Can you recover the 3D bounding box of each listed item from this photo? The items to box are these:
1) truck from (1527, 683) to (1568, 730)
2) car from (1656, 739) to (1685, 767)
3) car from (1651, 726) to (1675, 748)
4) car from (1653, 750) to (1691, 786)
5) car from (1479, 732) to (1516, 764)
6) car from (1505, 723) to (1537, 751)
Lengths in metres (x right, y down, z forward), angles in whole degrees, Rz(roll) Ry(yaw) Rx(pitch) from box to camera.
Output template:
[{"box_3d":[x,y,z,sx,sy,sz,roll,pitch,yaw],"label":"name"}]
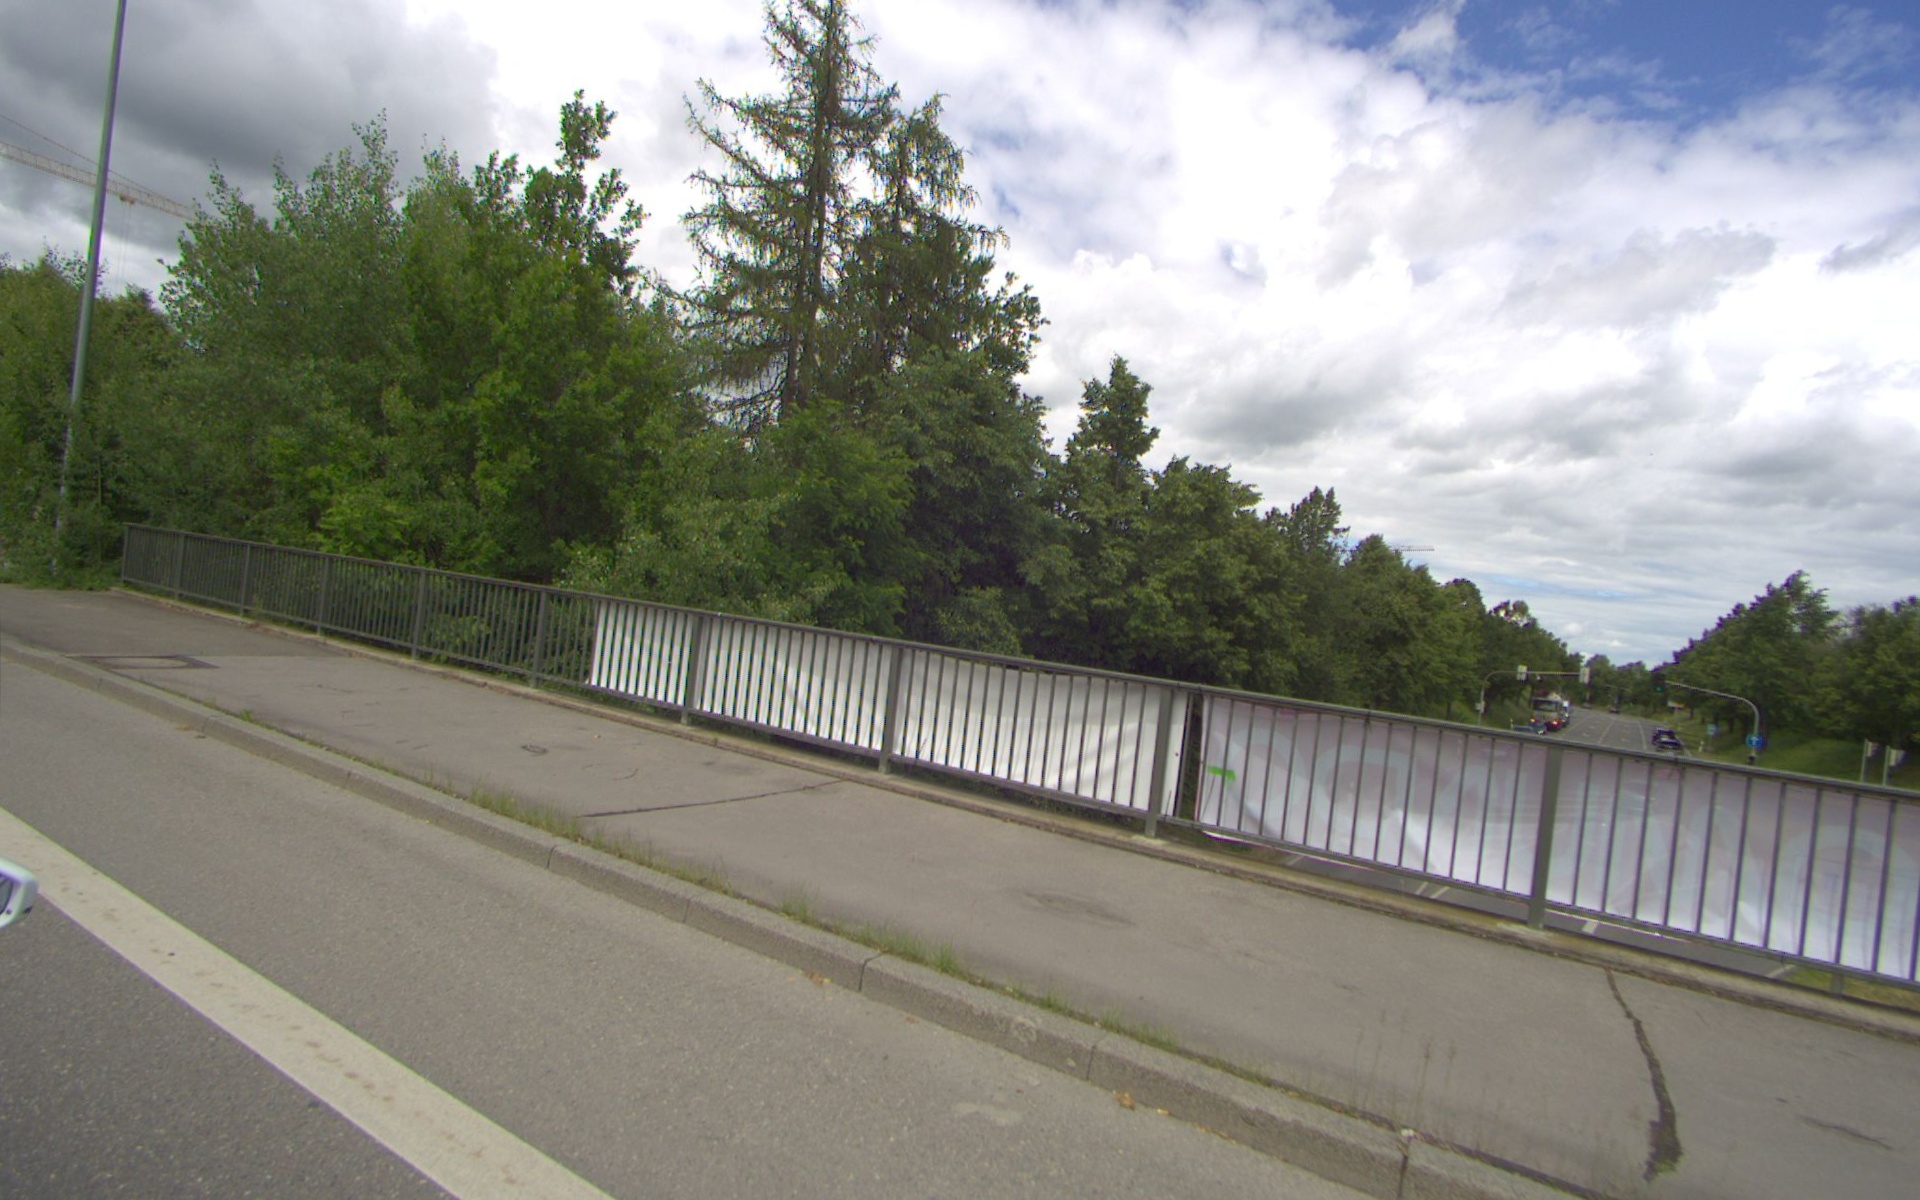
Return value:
[{"box_3d":[60.531,10.849,103.556,2.671,4.082,8.739,8,2,33],"label":"truck"},{"box_3d":[55.434,11.912,78.486,1.655,1.560,3.842,8,2,35],"label":"car"},{"box_3d":[66.680,12.963,95.402,1.655,1.560,3.842,8,2,35],"label":"car"},{"box_3d":[44.185,10.388,62.441,1.655,1.560,3.842,8,2,35],"label":"car"},{"box_3d":[35.380,9.702,66.177,1.654,1.560,3.844,8,2,33],"label":"car"},{"box_3d":[43.042,10.457,77.128,1.654,1.560,4.059,8,2,33],"label":"car"}]
